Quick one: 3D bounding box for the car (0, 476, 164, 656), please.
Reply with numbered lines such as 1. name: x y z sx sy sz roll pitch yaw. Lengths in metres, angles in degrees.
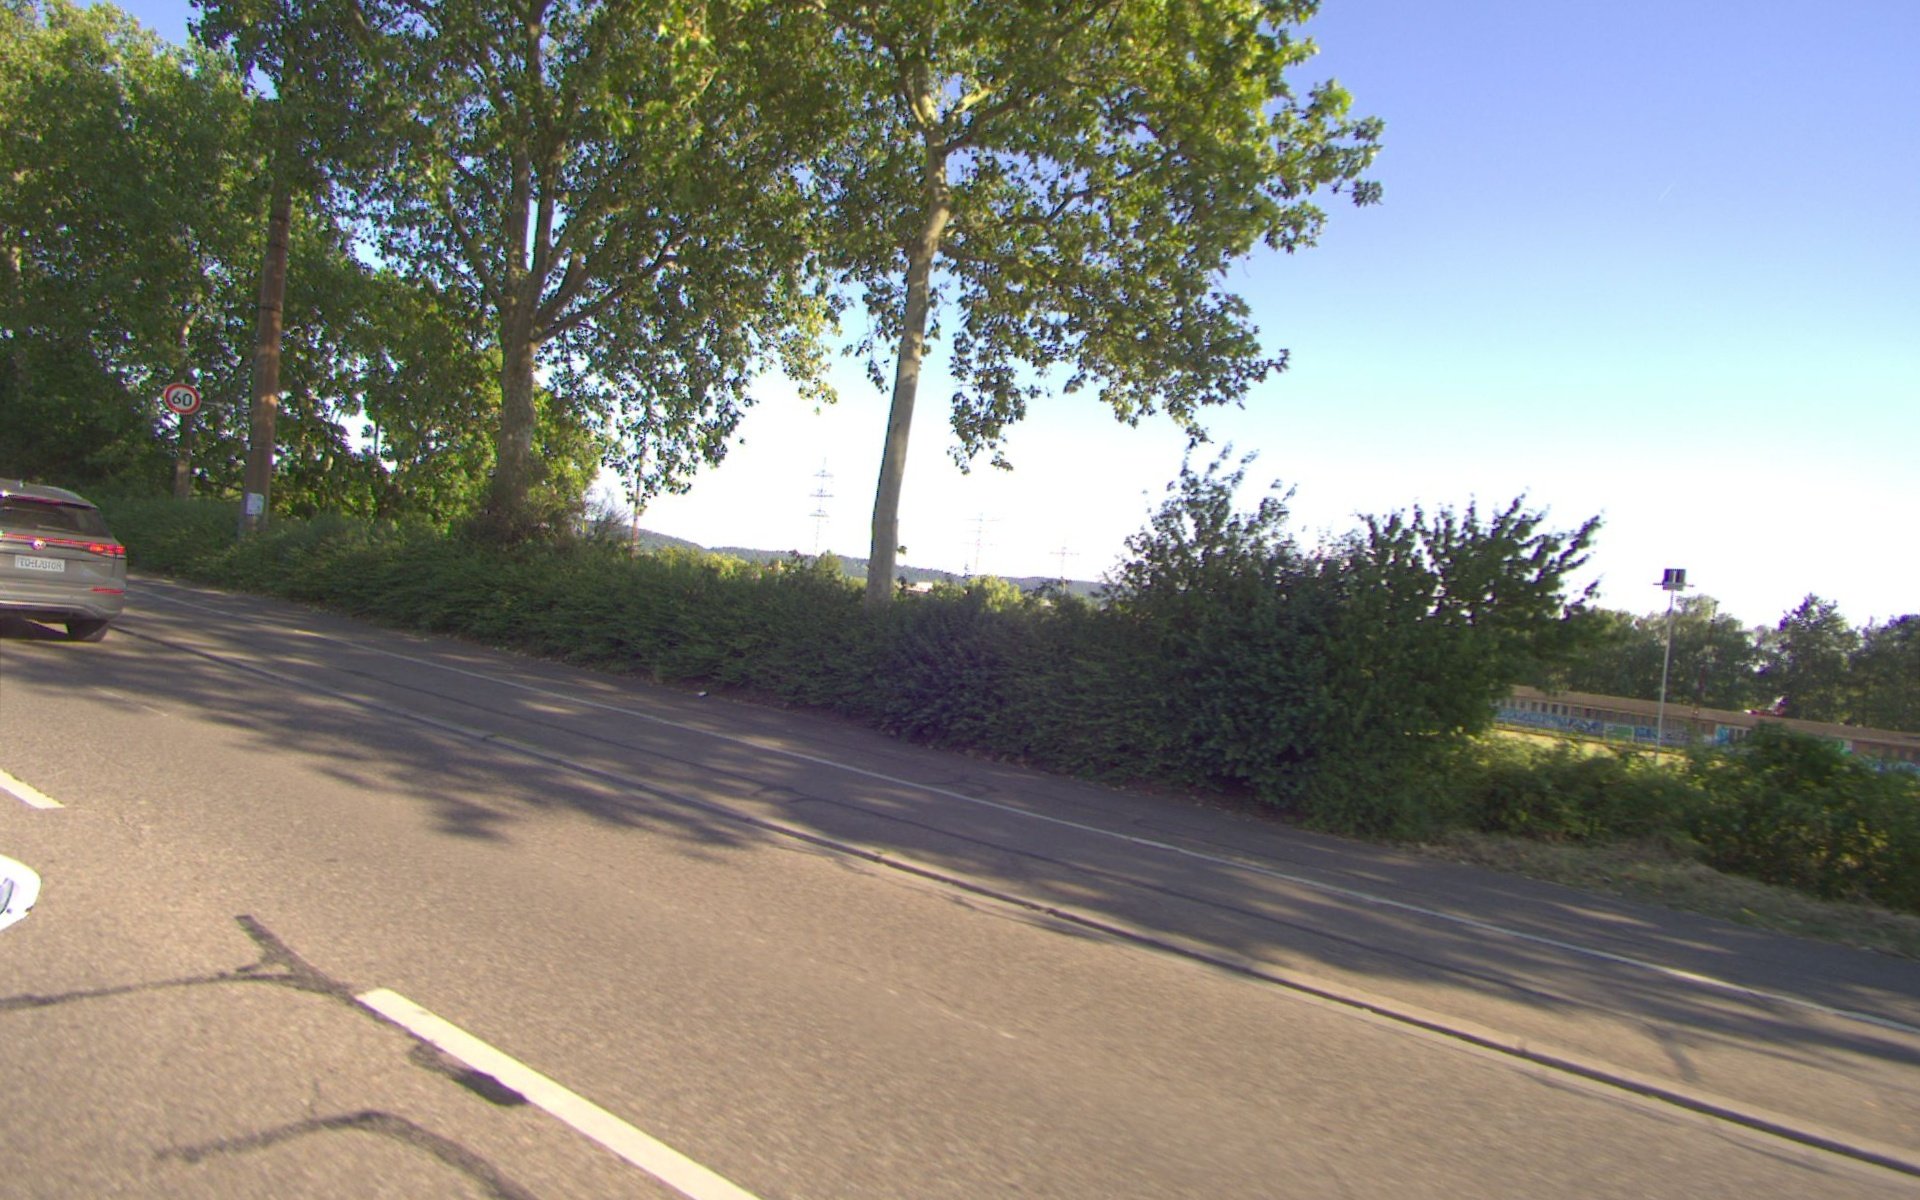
1. car: -10.952 -0.549 11.103 4.365 1.681 1.848 7 -1 31
